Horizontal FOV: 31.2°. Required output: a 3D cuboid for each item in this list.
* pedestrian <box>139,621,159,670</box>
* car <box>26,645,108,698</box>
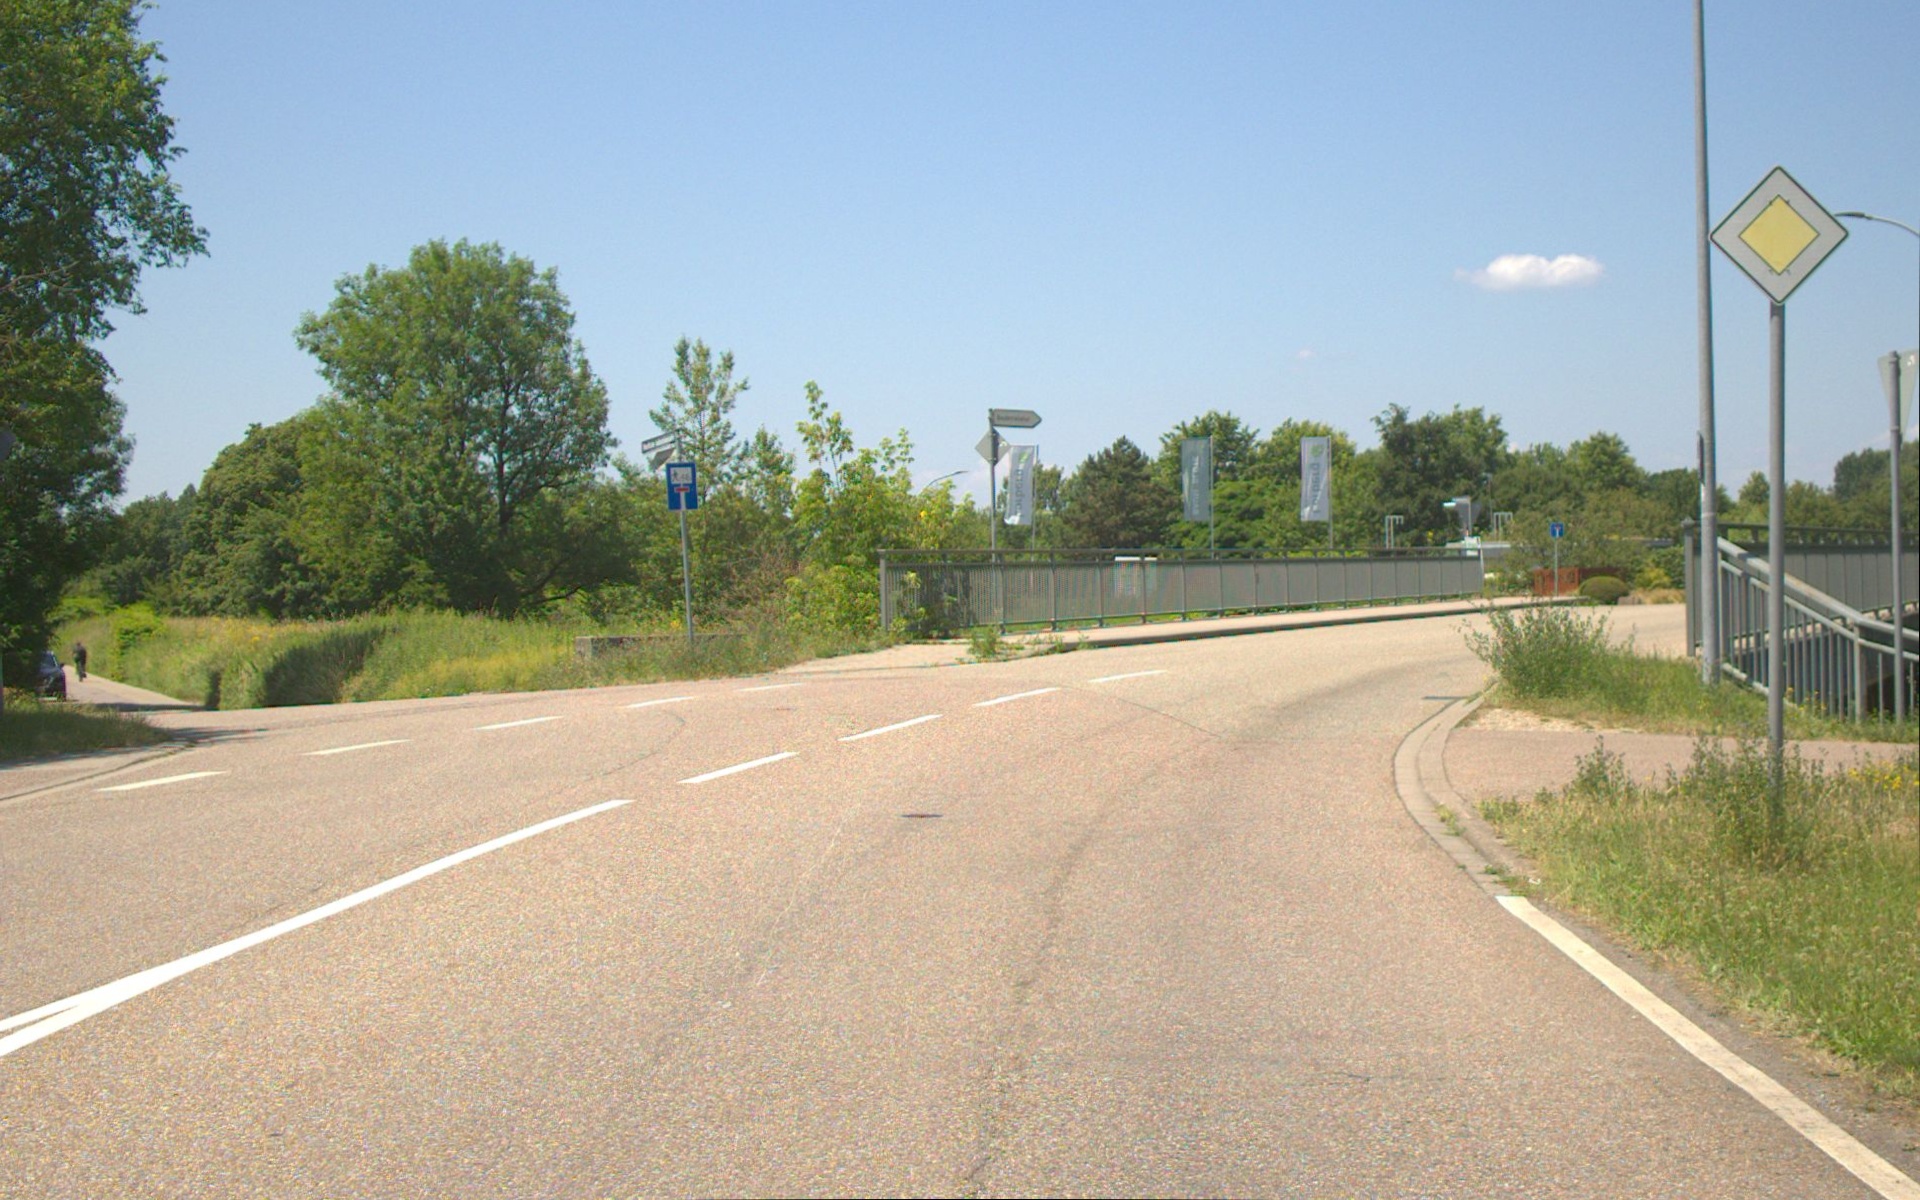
[{"bbox_3d":[-33.429,1.880,141.706,0.611,2.007,0.625,-2,1,-22],"label":"pedestrian"},{"bbox_3d":[-28.976,2.288,111.519,1.993,1.590,4.001,-2,0,-22],"label":"car"}]
